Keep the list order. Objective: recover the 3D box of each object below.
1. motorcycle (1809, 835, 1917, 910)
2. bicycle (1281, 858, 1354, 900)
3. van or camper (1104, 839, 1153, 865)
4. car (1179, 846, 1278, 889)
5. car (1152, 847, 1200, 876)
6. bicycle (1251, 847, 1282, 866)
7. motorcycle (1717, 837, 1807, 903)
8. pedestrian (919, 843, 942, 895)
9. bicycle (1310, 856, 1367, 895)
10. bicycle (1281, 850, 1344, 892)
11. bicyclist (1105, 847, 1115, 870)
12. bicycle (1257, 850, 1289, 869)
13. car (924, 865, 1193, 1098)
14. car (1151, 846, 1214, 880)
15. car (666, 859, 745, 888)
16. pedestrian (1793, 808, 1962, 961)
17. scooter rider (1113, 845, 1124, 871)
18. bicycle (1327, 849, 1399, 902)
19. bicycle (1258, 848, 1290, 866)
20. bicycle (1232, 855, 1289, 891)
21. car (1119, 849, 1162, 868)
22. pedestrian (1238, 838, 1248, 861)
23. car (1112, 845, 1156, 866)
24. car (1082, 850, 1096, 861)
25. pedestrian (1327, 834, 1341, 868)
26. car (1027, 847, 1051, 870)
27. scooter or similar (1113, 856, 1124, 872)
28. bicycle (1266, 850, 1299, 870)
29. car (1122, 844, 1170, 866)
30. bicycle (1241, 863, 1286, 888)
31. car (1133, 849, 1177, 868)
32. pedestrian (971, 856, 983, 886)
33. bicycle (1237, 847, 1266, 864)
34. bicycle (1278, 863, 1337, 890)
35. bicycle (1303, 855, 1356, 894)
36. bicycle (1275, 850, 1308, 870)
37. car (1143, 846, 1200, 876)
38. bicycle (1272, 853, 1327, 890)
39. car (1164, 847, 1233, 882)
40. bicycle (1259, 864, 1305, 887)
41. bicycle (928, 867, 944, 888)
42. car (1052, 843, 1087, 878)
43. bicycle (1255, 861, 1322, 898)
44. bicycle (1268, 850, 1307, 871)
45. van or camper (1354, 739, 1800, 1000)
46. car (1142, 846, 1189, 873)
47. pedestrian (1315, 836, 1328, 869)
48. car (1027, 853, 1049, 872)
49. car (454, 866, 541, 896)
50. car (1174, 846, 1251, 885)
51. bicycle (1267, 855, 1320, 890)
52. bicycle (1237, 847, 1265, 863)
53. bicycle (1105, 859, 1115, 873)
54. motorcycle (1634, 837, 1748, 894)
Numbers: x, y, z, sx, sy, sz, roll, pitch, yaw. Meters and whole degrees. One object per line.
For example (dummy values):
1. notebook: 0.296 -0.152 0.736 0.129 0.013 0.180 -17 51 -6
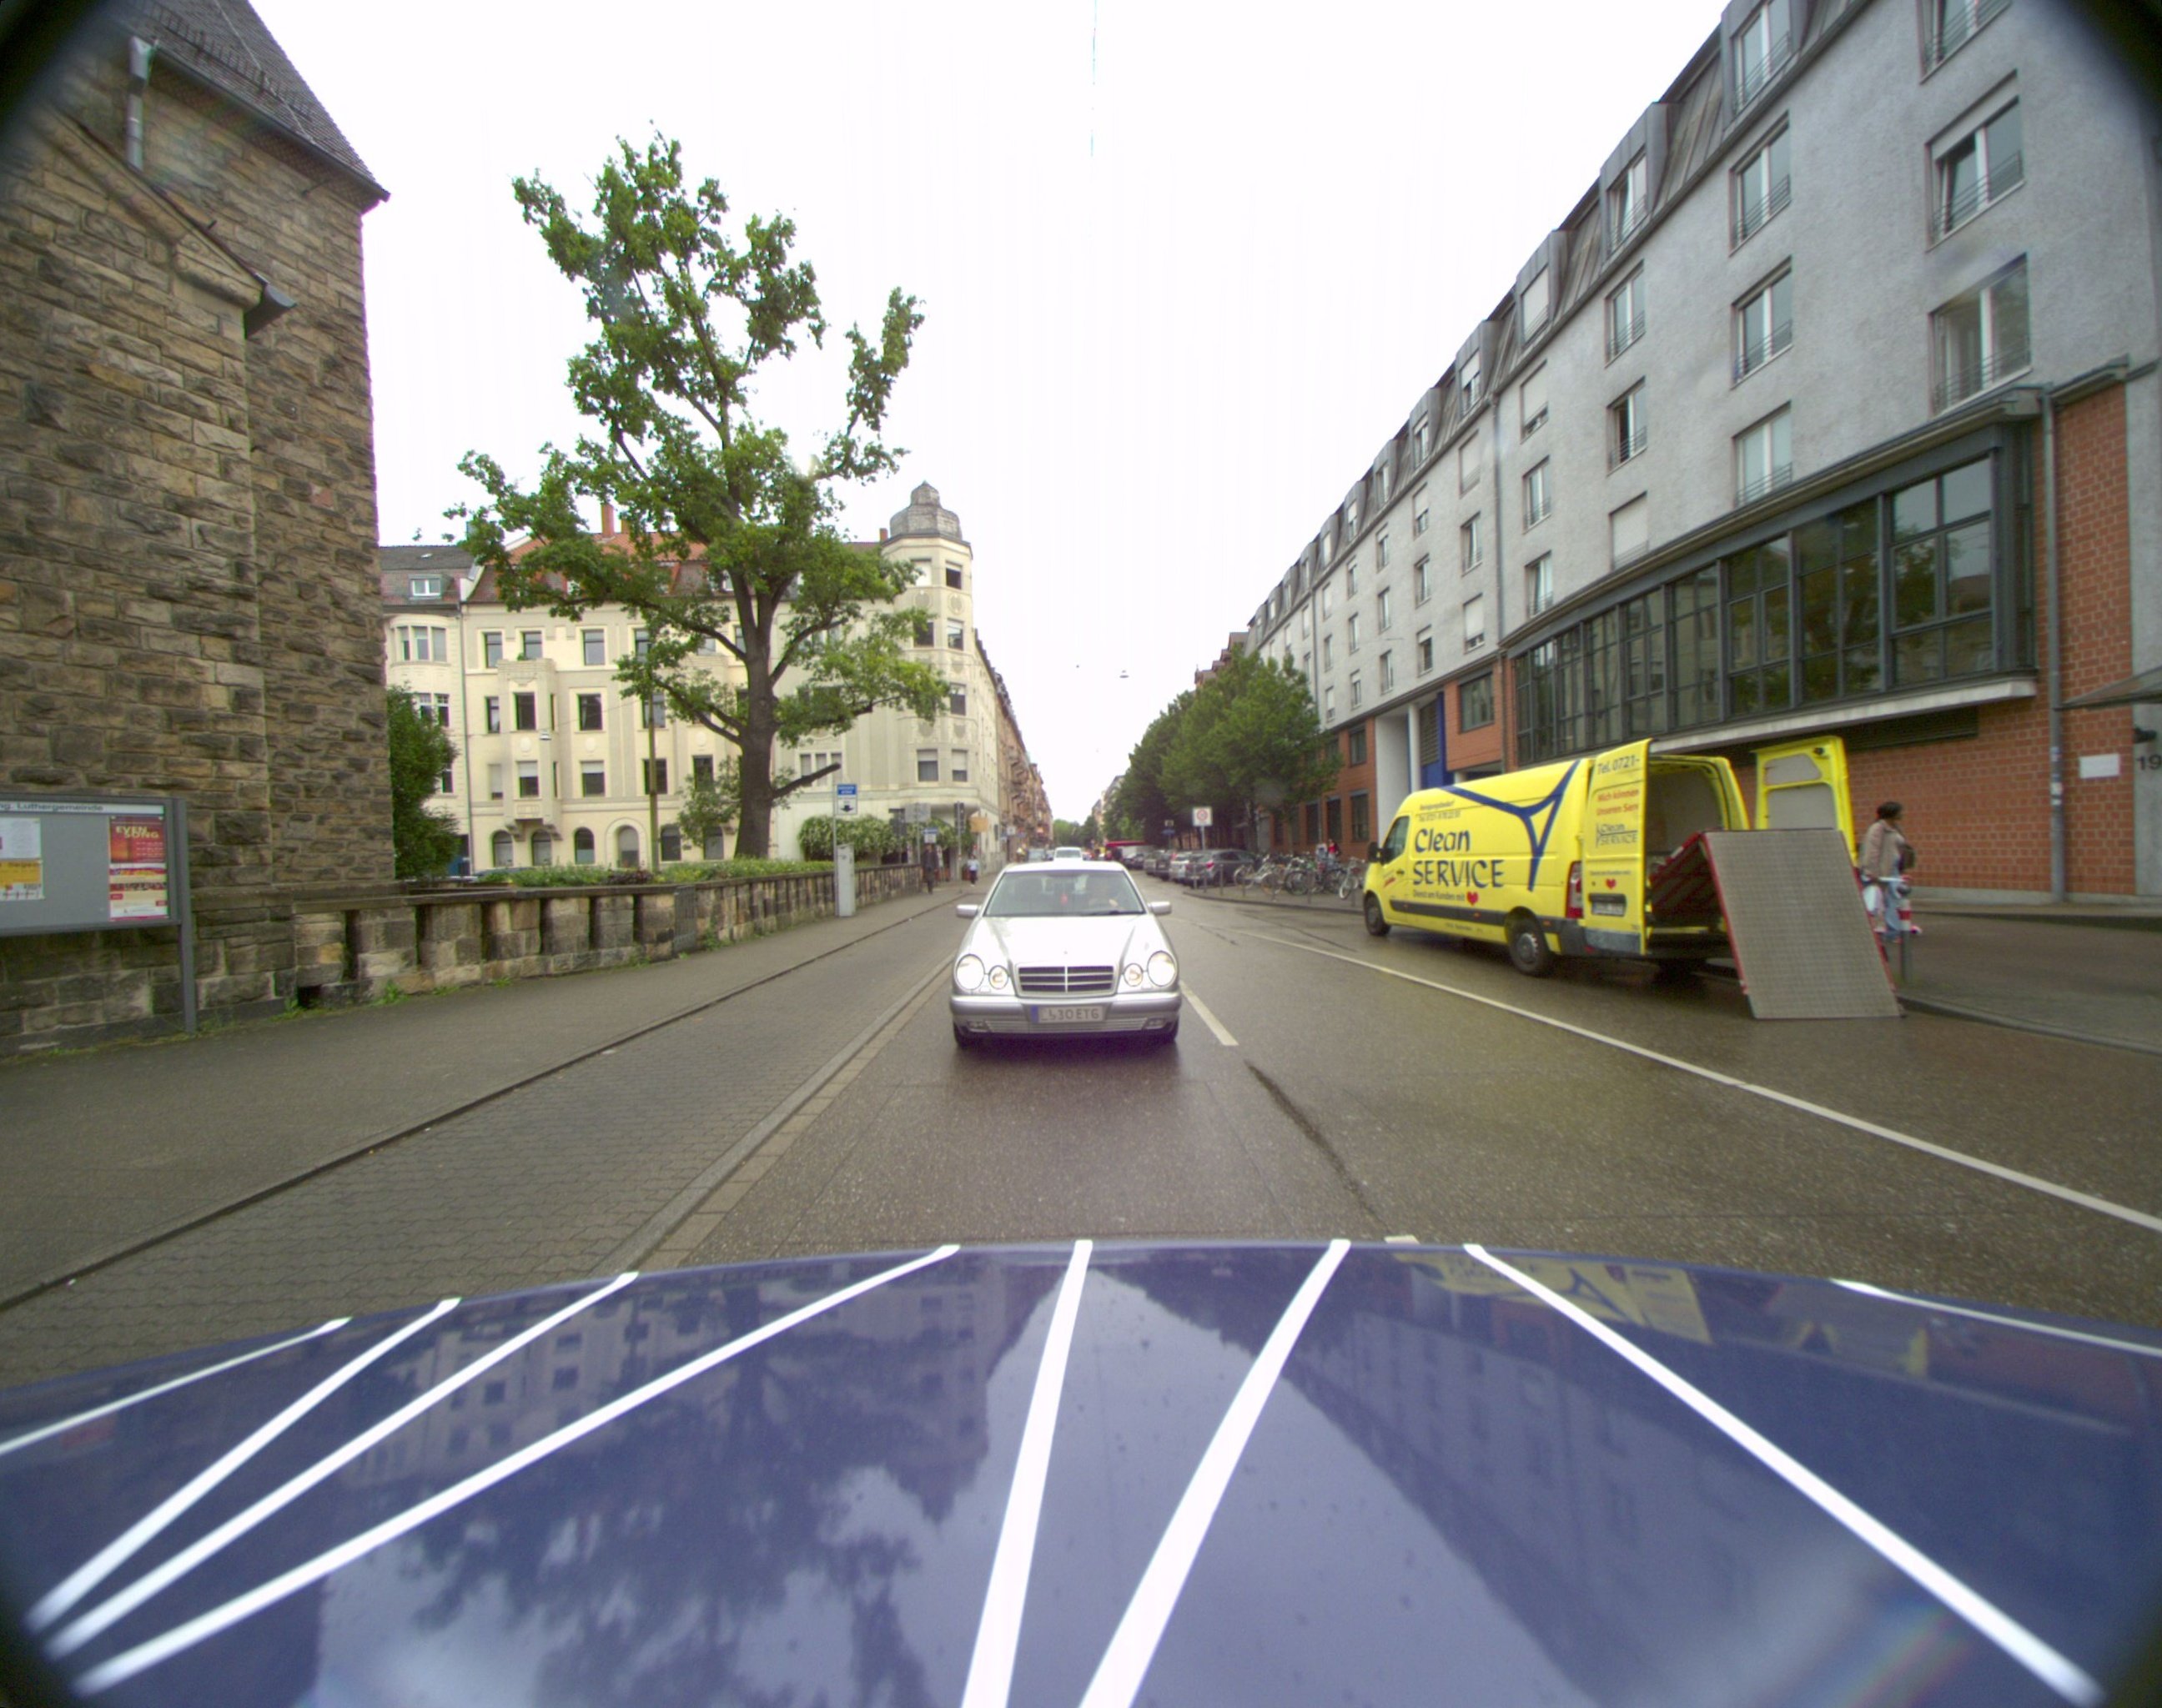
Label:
1. motorcycle: 13.184 0.274 12.875 0.524 1.174 1.760 -2 1 19
2. bicycle: 6.680 0.695 21.517 1.858 1.067 0.609 -3 1 5
3. van or camper: 4.856 -0.231 77.743 4.604 2.597 1.999 -1 1 -27
4. car: 5.868 0.498 30.160 3.629 1.494 1.736 -3 2 -32
5. car: 5.237 0.423 41.810 2.506 1.442 1.191 -3 1 -40
6. bicycle: 10.483 0.138 42.918 1.590 0.979 0.465 -2 1 -8
7. motorcycle: 13.054 0.272 14.633 0.524 1.174 2.006 -2 1 19
8. pedestrian: -5.507 0.540 27.833 0.646 1.862 0.693 -1 1 -1
9. bicycle: 7.458 0.626 22.024 1.462 1.058 0.418 -3 1 3
10. bicycle: 7.220 0.528 23.654 1.815 1.187 0.519 -3 1 -13
11. bicyclist: 1.991 0.312 52.303 0.536 1.521 1.134 -2 1 -2
12. bicycle: 10.394 0.286 41.134 1.590 0.979 0.445 -2 1 -8
13. car: -0.153 0.886 7.093 1.764 1.420 3.999 -2 1 0
14. car: 5.172 0.434 38.578 3.084 1.543 1.449 -3 1 -40
15. car: -19.197 0.977 38.916 3.270 1.401 1.448 -1 1 2
16. pedestrian: 9.699 0.347 9.311 0.787 1.718 1.172 -3 1 -2
17. scooter rider: 2.712 0.281 55.223 0.712 1.924 0.503 -1 1 -2
18. bicycle: 7.478 0.536 20.111 1.922 1.209 0.768 -6 4 -35
19. bicycle: 10.603 0.157 41.754 1.590 0.979 0.445 -2 1 -8
20. bicycle: 6.154 0.654 26.063 1.812 1.099 0.472 -3 1 -5
21. car: 5.066 0.359 64.026 1.685 1.482 3.799 0 1 40
22. pedestrian: 11.543 -0.299 54.017 0.571 1.588 0.533 -2 1 1
23. car: 5.047 0.126 71.769 4.338 1.822 1.571 -1 1 -41
24. car: 1.002 0.182 99.553 1.651 1.301 3.311 -1 0 -3
25. pedestrian: 12.198 -0.144 36.621 0.513 1.601 0.426 -1 1 28
26. car: -3.429 0.342 62.589 1.726 1.794 3.461 -1 1 -1
27. scooter or similar: 2.721 0.726 55.203 0.702 1.158 1.385 -1 1 -2
28. bicycle: 10.406 0.325 39.219 1.590 0.979 0.445 -2 1 -8
29. car: 5.844 0.030 68.258 4.338 1.884 1.685 -1 1 -41
30. bicycle: 6.515 0.754 27.117 1.473 0.800 0.497 -3 1 2
31. car: 6.010 0.333 61.513 1.685 1.482 3.799 0 1 40
32. pedestrian: -5.090 0.835 37.182 0.482 1.452 0.392 -1 1 -1
33. bicycle: 10.125 0.103 45.192 1.590 0.979 0.465 -2 1 -8
34. bicycle: 7.232 0.718 24.245 1.773 0.757 0.456 -3 1 -13
35. bicycle: 7.441 0.604 22.799 1.461 1.096 0.462 -3 1 14
36. bicycle: 11.029 0.304 39.765 1.590 0.979 0.445 -2 1 -8
37. car: 5.280 0.397 44.318 2.985 1.546 1.369 -3 1 -29
38. bicycle: 7.147 0.559 24.857 1.611 1.099 0.519 -3 1 -13
39. car: 5.540 0.483 35.694 3.084 1.494 1.449 -3 1 -40
40. bicycle: 6.999 0.745 26.490 1.473 0.717 0.497 -3 1 2
41. bicycle: -7.381 1.178 38.745 0.390 0.888 2.023 -1 3 0
42. car: -0.646 0.391 46.448 1.998 2.002 4.000 -1 1 1
43. bicycle: 6.100 0.747 22.354 1.800 0.987 0.520 -3 1 -2
44. bicycle: 10.536 0.331 38.747 1.851 0.979 0.445 -2 1 -8
45. van or camper: 6.086 0.138 10.628 2.202 2.596 5.940 -1 0 -2
46. car: 5.244 0.324 47.074 2.685 1.546 1.148 -3 1 -29
47. pedestrian: 11.805 -0.050 37.293 0.604 1.601 0.373 -1 1 20
48. car: -3.248 0.595 57.520 1.447 1.348 3.203 -1 0 -1
49. car: -29.376 1.338 38.312 3.270 1.401 1.448 -1 1 2
50. car: 5.737 0.494 33.086 3.083 1.494 1.449 -3 1 -32
51. bicycle: 7.143 0.615 25.546 1.610 1.099 0.520 -3 1 -5
52. bicycle: 10.556 0.052 47.223 1.590 0.979 0.465 -2 1 -8
53. bicycle: 1.992 0.817 52.563 0.536 0.879 1.780 -2 1 -2
54. motorcycle: 13.415 0.238 16.809 0.651 1.150 2.204 -3 1 -2
